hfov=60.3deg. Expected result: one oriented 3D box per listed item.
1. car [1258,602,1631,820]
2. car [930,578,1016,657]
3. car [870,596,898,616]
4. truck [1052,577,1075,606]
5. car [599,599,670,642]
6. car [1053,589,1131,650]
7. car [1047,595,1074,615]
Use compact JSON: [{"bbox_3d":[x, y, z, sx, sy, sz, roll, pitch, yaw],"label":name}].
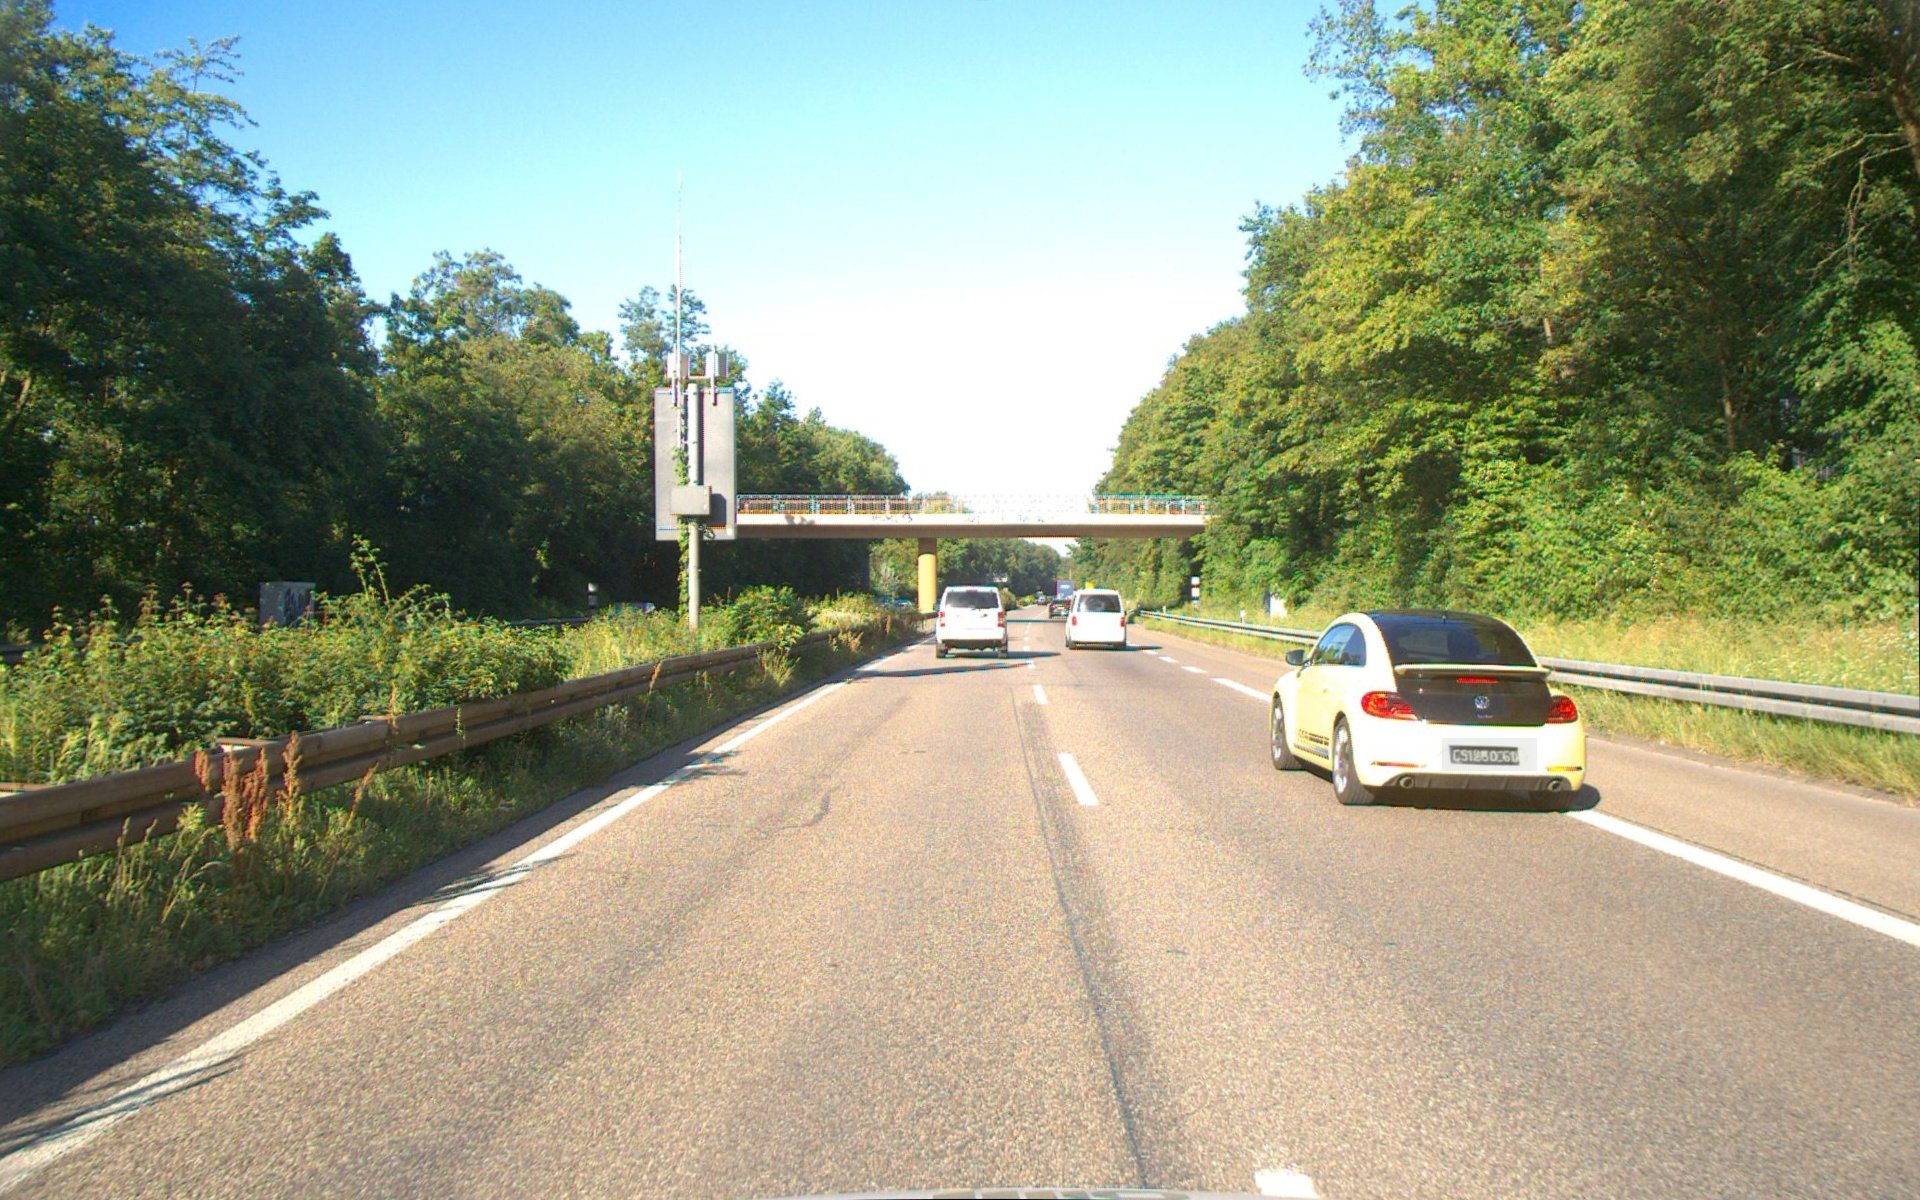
[{"bbox_3d":[3.791,0.783,13.787,1.841,1.487,4.356,1,0,0],"label":"car"},{"bbox_3d":[0.314,0.422,42.316,2.043,1.860,4.000,1,0,0],"label":"car"},{"bbox_3d":[-6.622,0.526,144.333,1.919,1.688,5.042,-1,0,3],"label":"car"},{"bbox_3d":[15.555,-1.279,249.196,3.422,4.246,8.865,0,0,3],"label":"truck"},{"bbox_3d":[-11.387,0.694,58.117,1.673,1.449,4.132,0,0,0],"label":"car"},{"bbox_3d":[4.006,0.568,50.954,1.826,1.801,4.467,-1,0,-3],"label":"car"},{"bbox_3d":[7.550,0.350,124.174,1.952,1.422,4.002,0,0,3],"label":"car"}]
